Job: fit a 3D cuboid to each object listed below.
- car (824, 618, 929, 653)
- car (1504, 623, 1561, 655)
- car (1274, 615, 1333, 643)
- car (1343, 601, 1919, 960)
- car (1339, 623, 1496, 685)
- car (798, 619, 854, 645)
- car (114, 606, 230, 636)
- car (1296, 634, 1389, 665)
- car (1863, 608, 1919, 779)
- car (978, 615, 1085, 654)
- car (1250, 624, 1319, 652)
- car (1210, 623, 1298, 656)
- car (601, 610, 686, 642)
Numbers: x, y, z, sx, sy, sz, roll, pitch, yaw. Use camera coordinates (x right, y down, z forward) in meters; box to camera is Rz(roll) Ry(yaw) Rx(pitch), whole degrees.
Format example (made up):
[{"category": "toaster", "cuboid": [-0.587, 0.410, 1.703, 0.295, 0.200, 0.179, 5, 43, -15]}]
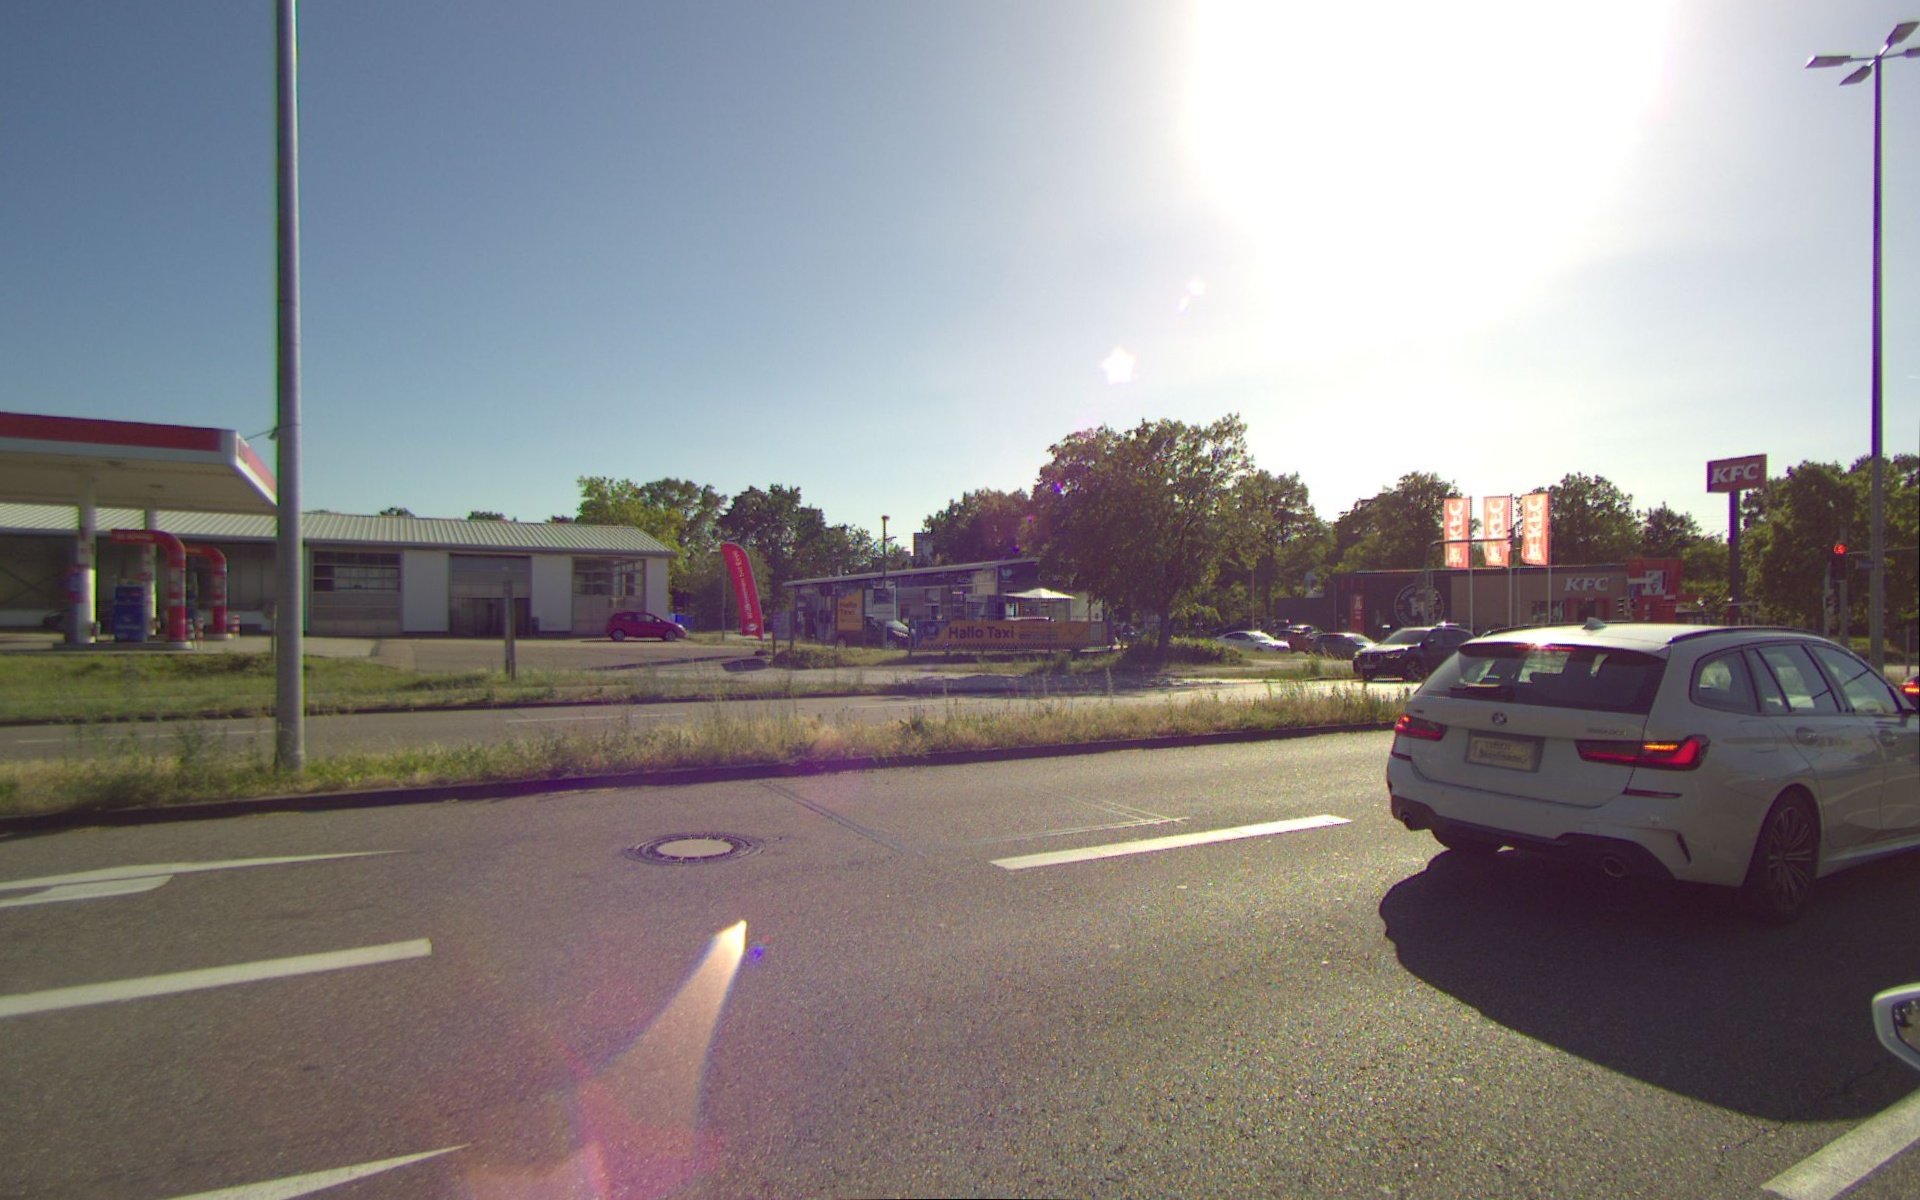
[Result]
[{"category": "car", "cuboid": [-3.362, 1.396, 40.325, 3.930, 1.193, 1.774, 2, 0, 31]}, {"category": "car", "cuboid": [35.014, 2.339, 61.537, 1.896, 1.763, 4.099, 2, 0, 14]}, {"category": "car", "cuboid": [23.992, 2.021, 70.073, 3.732, 1.837, 1.982, 2, 0, -33]}, {"category": "car", "cuboid": [4.656, 0.812, 6.204, 4.541, 1.506, 1.804, 1, 0, -30]}, {"category": "car", "cuboid": [13.854, 1.601, 30.456, 4.254, 1.749, 1.801, 1, 0, -19]}, {"category": "car", "cuboid": [-7.658, 1.810, 57.169, 1.736, 1.268, 4.020, 2, 0, -31]}, {"category": "car", "cuboid": [-34.052, 0.920, 43.521, 3.688, 1.203, 1.667, 2, 0, -30]}, {"category": "car", "cuboid": [18.925, 2.438, 49.874, 1.850, 1.268, 4.062, 2, 0, -31]}, {"category": "car", "cuboid": [11.020, 0.908, 9.980, 4.491, 1.572, 1.803, 1, 0, -31]}, {"category": "car", "cuboid": [2.943, 1.410, 41.611, 3.941, 1.461, 1.990, 2, 0, -21]}, {"category": "car", "cuboid": [20.011, 2.325, 62.101, 1.975, 1.579, 3.745, 2, 0, -28]}, {"category": "car", "cuboid": [16.267, 2.190, 55.771, 1.914, 1.600, 4.599, 2, 0, -31]}, {"category": "car", "cuboid": [-15.967, 1.328, 50.705, 3.949, 1.491, 1.521, 2, 0, -24]}]
